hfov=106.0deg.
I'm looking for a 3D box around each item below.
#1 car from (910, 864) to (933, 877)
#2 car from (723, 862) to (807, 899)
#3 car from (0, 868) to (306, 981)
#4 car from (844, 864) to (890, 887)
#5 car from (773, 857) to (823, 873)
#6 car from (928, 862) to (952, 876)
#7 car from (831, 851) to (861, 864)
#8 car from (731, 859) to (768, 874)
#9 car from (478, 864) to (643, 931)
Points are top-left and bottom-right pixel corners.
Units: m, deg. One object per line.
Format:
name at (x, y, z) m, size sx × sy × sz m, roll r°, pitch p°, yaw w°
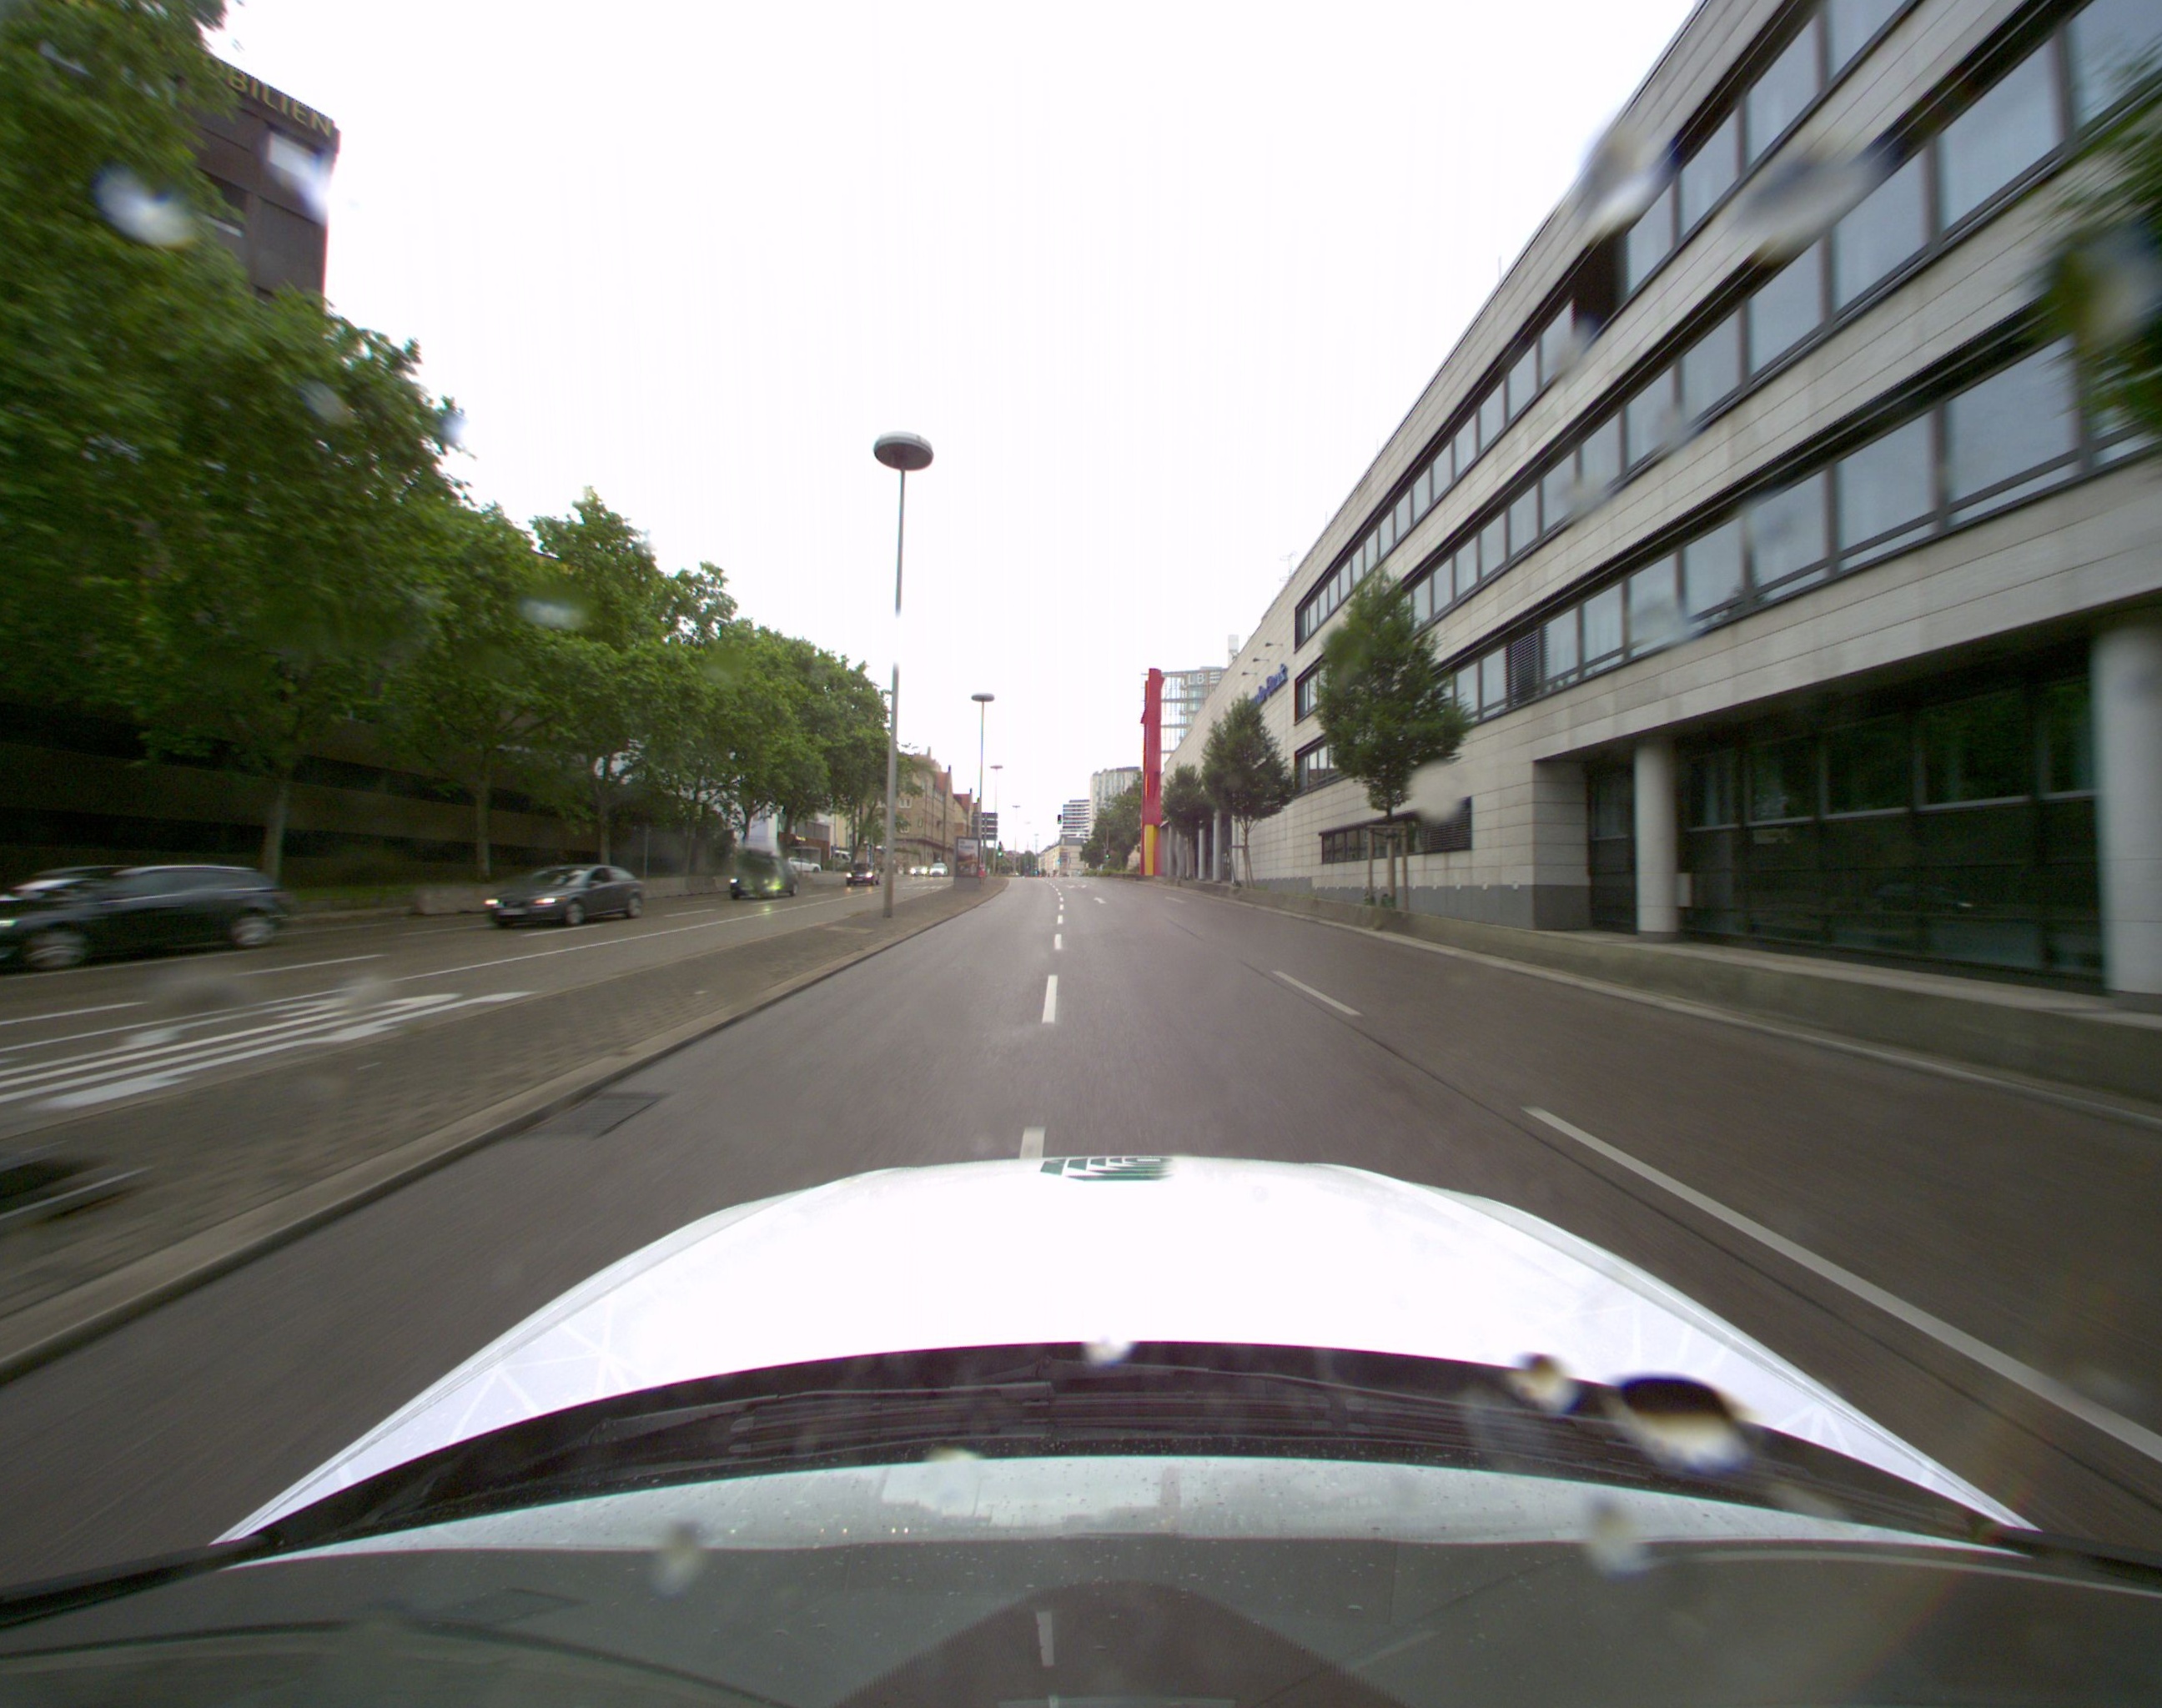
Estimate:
car at (-18.783, 1.951, 95.999) m, size 1.813 × 1.385 × 4.000 m, roll -1°, pitch -2°, yaw 1°
car at (-12.987, 1.068, 33.695) m, size 1.813 × 1.403 × 4.000 m, roll -1°, pitch -2°, yaw 1°
car at (-15.217, 0.974, 12.767) m, size 1.740 × 1.446 × 4.721 m, roll 0°, pitch 0°, yaw -2°
car at (-13.793, 1.380, 52.758) m, size 1.813 × 1.403 × 4.000 m, roll -1°, pitch -2°, yaw 1°
car at (-29.034, 1.150, 83.665) m, size 1.801 × 1.511 × 4.607 m, roll -3°, pitch -2°, yaw 37°
car at (-15.360, 1.613, 89.148) m, size 1.813 × 1.469 × 4.000 m, roll -1°, pitch -2°, yaw 1°
car at (-31.904, 0.456, 110.657) m, size 3.622 × 1.701 × 1.822 m, roll -1°, pitch -2°, yaw -5°
car at (-33.898, 1.259, 83.301) m, size 1.262 × 1.426 × 3.210 m, roll -3°, pitch -2°, yaw 44°
car at (-12.464, 0.972, 19.827) m, size 1.684 × 1.410 × 3.993 m, roll -1°, pitch 0°, yaw -5°
